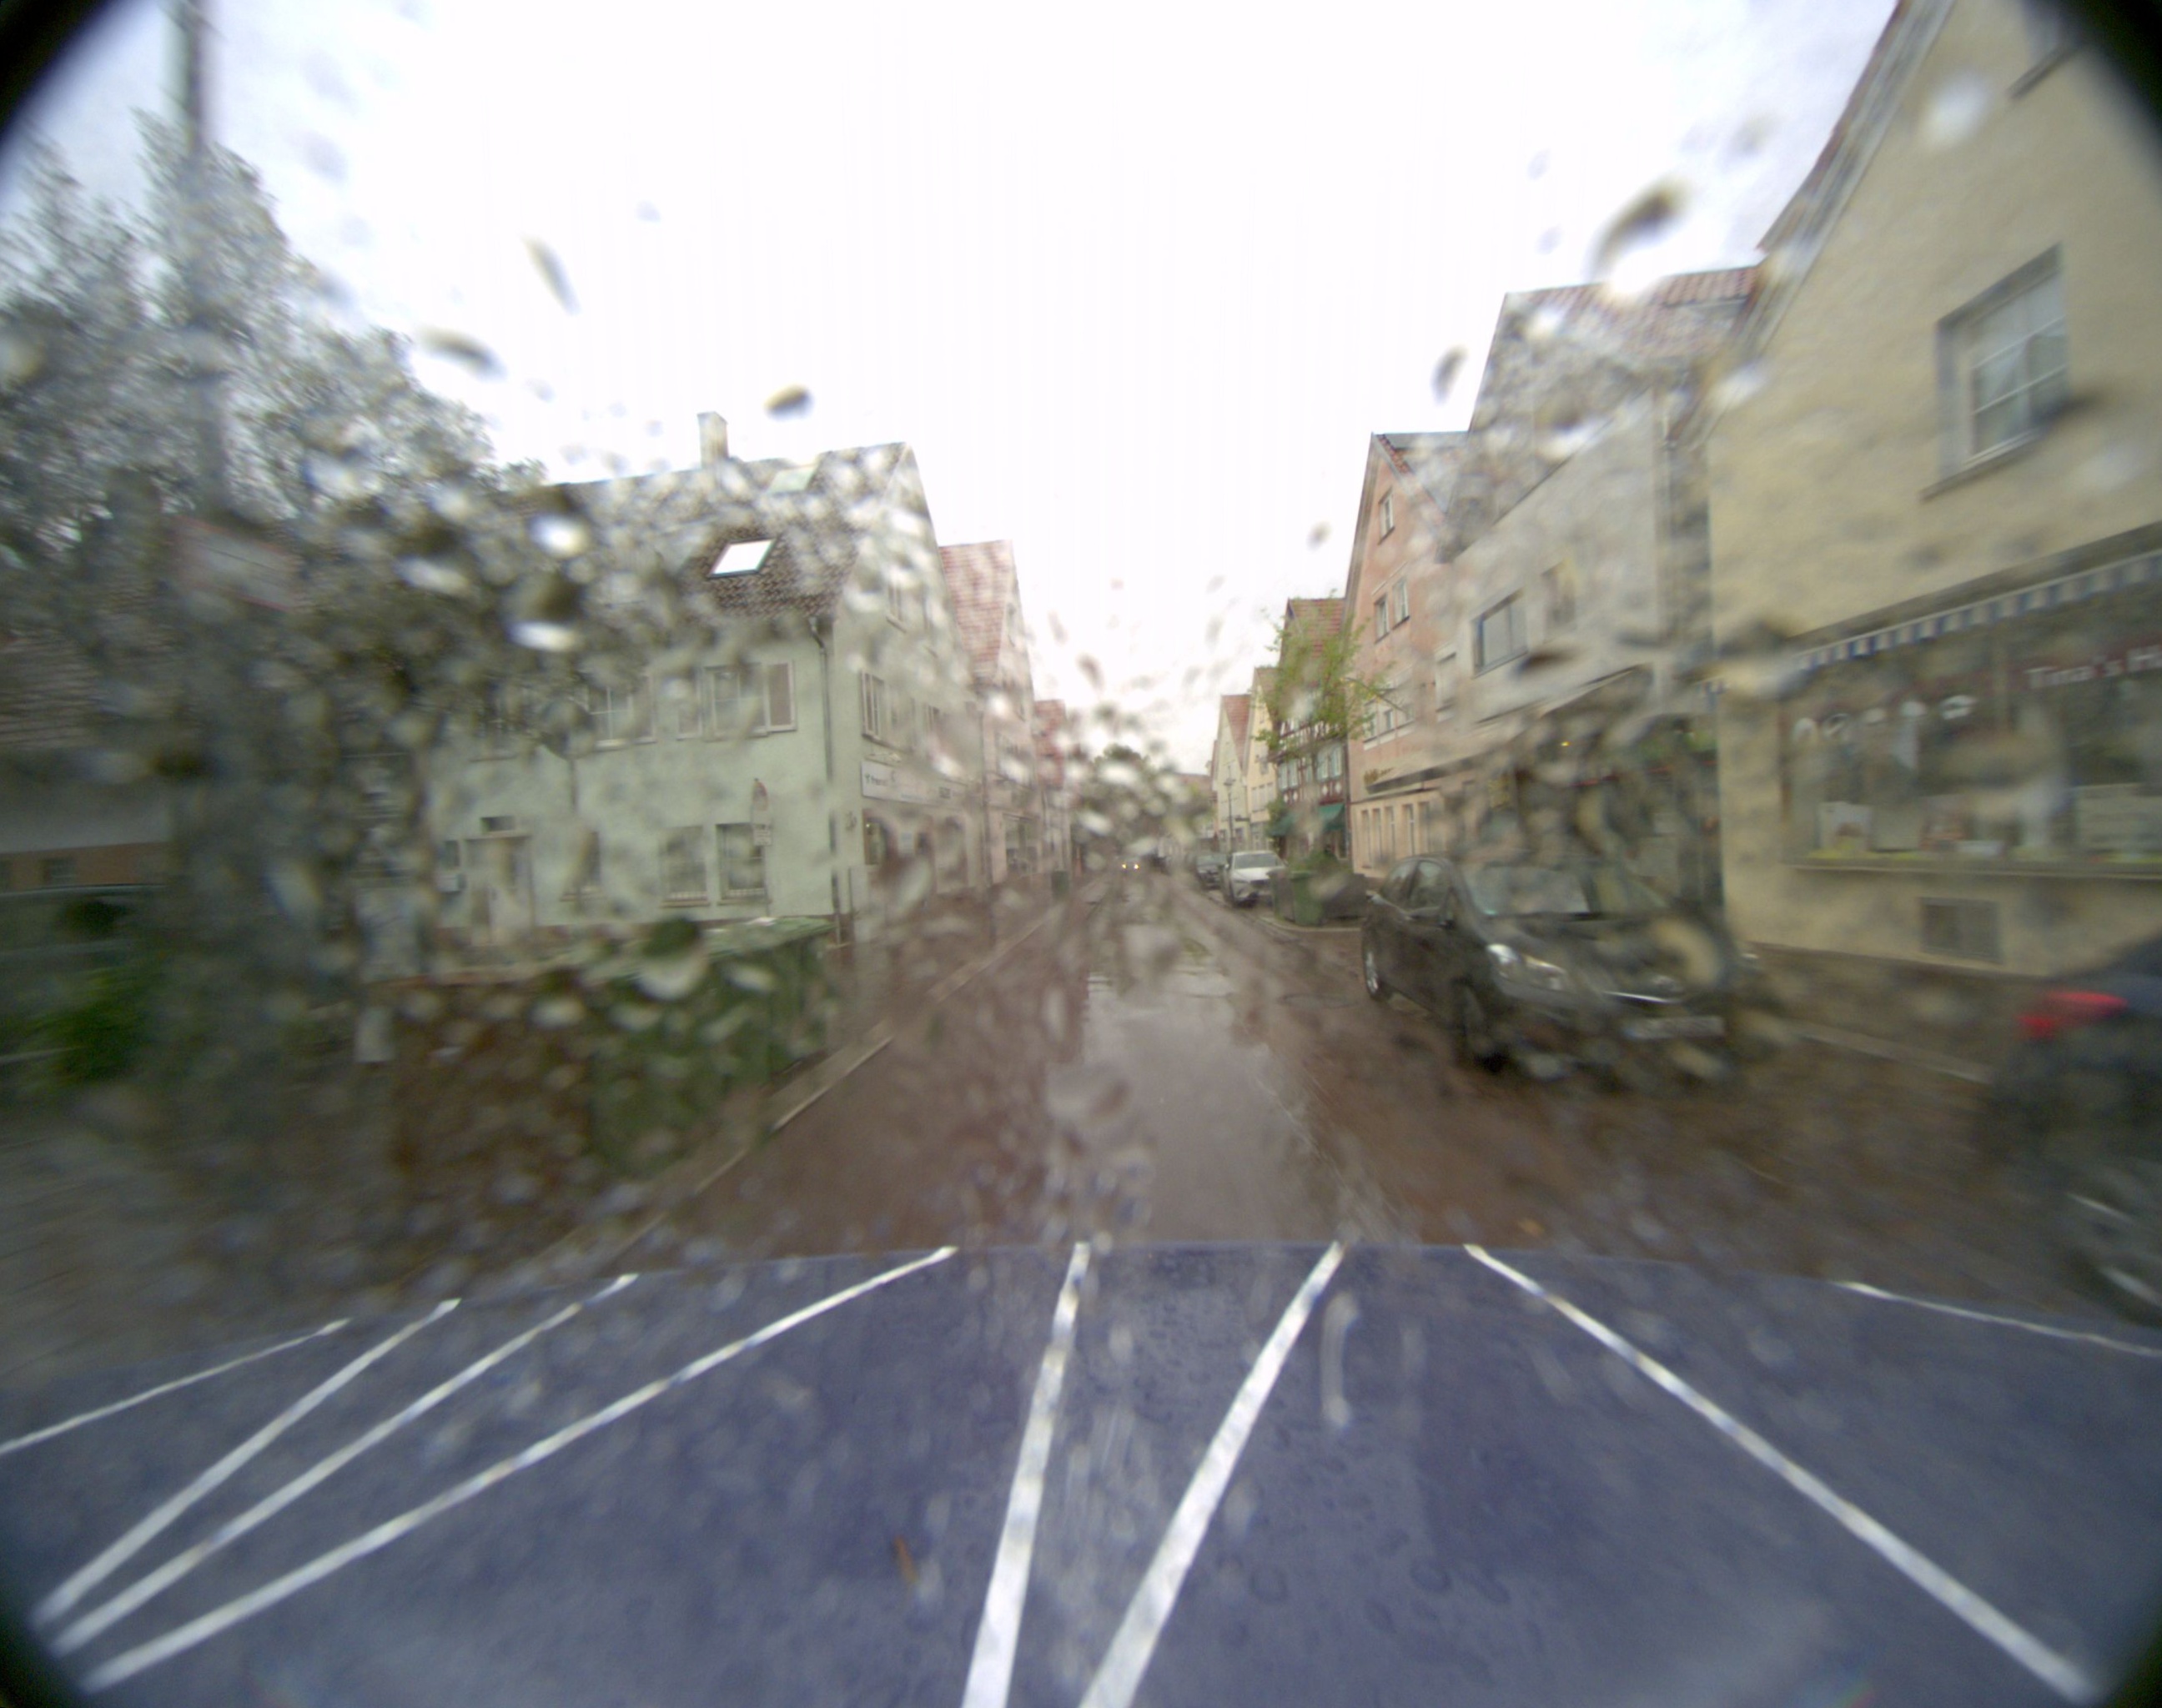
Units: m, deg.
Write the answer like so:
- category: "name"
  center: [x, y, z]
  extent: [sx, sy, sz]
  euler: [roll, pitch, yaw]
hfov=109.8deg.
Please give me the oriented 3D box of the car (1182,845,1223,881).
- category: "car"
  center: [6.225, 0.460, 39.334]
  extent: [1.828, 1.656, 4.645]
  euler: [-4, -1, 7]

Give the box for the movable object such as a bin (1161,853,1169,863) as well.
- category: "movable object such as a bin"
  center: [9.723, 0.480, 87.845]
  extent: [0.726, 1.077, 0.605]
  euler: [-3, 2, 28]

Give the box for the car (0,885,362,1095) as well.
- category: "car"
  center: [-9.594, 1.205, 6.794]
  extent: [1.883, 1.590, 4.400]
  euler: [-2, 0, 42]

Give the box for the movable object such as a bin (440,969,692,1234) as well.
- category: "movable object such as a bin"
  center: [-2.515, 1.185, 3.780]
  extent: [0.737, 1.092, 0.611]
  euler: [-3, 2, 5]

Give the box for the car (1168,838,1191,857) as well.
- category: "car"
  center: [8.878, -0.619, 68.826]
  extent: [1.866, 1.515, 4.330]
  euler: [-5, 0, 7]

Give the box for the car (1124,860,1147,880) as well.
- category: "car"
  center: [4.615, 1.329, 64.258]
  extent: [1.784, 1.529, 4.291]
  euler: [-5, -1, 3]

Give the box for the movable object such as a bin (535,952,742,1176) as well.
- category: "movable object such as a bin"
  center: [-2.512, 1.173, 4.385]
  extent: [0.737, 1.092, 0.611]
  euler: [-3, 2, 5]

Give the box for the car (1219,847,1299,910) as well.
- category: "car"
  center: [5.106, 0.644, 22.289]
  extent: [1.695, 1.529, 4.122]
  euler: [-4, 0, 6]

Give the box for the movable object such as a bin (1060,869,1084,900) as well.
- category: "movable object such as a bin"
  center: [-0.312, 1.110, 27.830]
  extent: [0.794, 1.074, 0.615]
  euler: [-3, 2, 2]

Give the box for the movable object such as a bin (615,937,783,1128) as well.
- category: "movable object such as a bin"
  center: [-2.466, 1.139, 4.960]
  extent: [0.730, 1.085, 0.521]
  euler: [-4, 2, 6]

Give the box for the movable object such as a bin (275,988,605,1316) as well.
- category: "movable object such as a bin"
  center: [-2.576, 1.163, 3.137]
  extent: [0.755, 1.084, 0.656]
  euler: [-2, 1, 2]

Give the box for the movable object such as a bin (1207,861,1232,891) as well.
- category: "movable object such as a bin"
  center: [5.310, 0.853, 29.120]
  extent: [0.771, 1.076, 0.676]
  euler: [-3, 2, 0]

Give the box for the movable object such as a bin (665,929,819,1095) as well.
- category: "movable object such as a bin"
  center: [-2.461, 1.133, 5.579]
  extent: [0.756, 1.058, 0.600]
  euler: [-4, 2, 6]

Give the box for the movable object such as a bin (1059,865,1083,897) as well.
- category: "movable object such as a bin"
  center: [-0.348, 0.976, 27.211]
  extent: [0.798, 1.074, 0.582]
  euler: [-3, 2, 2]

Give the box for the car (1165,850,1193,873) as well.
- category: "car"
  center: [7.423, 0.519, 57.677]
  extent: [1.866, 1.515, 4.330]
  euler: [-5, 0, 7]

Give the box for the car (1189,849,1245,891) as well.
- category: "car"
  center: [5.793, 0.668, 32.894]
  extent: [1.784, 1.529, 4.291]
  euler: [-5, -1, 3]

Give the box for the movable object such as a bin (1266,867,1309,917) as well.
- category: "movable object such as a bin"
  center: [4.750, 0.866, 17.541]
  extent: [0.788, 1.078, 0.693]
  euler: [-4, 0, 7]

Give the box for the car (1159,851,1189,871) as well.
- category: "car"
  center: [7.680, 0.572, 63.243]
  extent: [1.866, 1.433, 4.619]
  euler: [-3, 0, 0]

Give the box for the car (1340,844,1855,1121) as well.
- category: "car"
  center: [3.466, 0.730, 6.105]
  extent: [1.695, 1.435, 3.886]
  euler: [-4, -1, 5]

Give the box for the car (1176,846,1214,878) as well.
- category: "car"
  center: [6.914, 0.428, 46.415]
  extent: [1.828, 1.657, 4.642]
  euler: [-4, 2, 4]

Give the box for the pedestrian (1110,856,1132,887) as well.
- category: "pedestrian"
  center: [2.322, 1.016, 44.379]
  extent: [1.175, 1.672, 0.790]
  euler: [-4, 2, 3]

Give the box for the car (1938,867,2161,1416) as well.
- category: "car"
  center: [3.877, 0.742, 0.612]
  extent: [1.761, 1.465, 3.943]
  euler: [-4, -1, -2]

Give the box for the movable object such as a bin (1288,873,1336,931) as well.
- category: "movable object such as a bin"
  center: [4.506, 0.929, 14.862]
  extent: [0.710, 1.046, 0.704]
  euler: [-4, 1, 6]

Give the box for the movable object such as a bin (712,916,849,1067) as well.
- category: "movable object such as a bin"
  center: [-2.420, 1.097, 6.180]
  extent: [0.770, 1.073, 0.599]
  euler: [-4, 2, 6]
